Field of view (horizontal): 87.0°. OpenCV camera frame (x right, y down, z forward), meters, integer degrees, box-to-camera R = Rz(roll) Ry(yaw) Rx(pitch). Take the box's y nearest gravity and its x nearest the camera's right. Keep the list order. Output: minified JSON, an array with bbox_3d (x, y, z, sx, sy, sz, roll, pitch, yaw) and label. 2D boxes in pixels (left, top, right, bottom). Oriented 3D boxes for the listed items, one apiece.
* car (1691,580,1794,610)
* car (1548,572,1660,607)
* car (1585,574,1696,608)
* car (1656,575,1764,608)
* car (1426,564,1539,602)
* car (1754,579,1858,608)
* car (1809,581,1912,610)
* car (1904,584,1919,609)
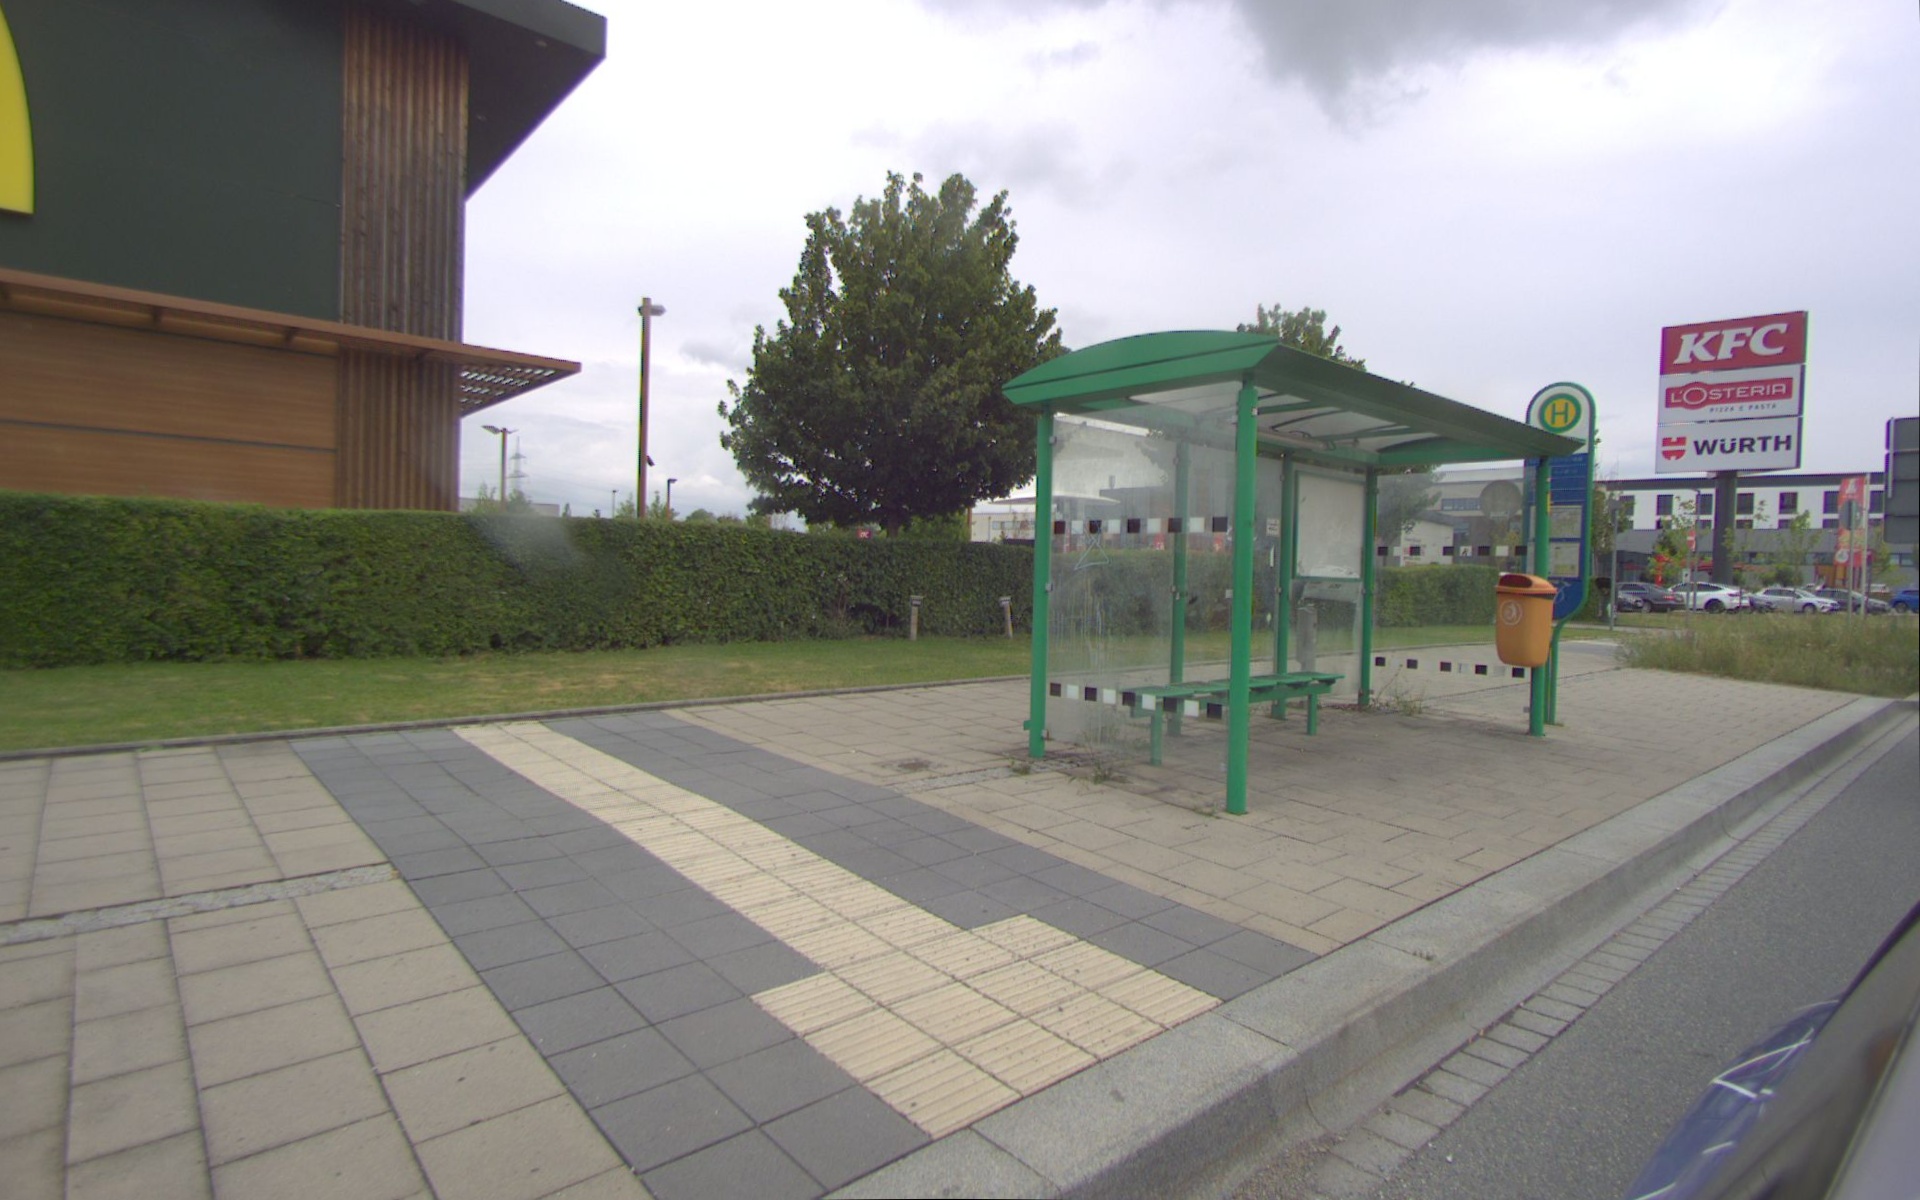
[{"bbox_3d":[42.338,-0.294,54.848,1.811,1.504,4.003,0,2,-33],"label":"car"},{"bbox_3d":[29.898,-0.496,47.097,1.811,1.504,4.003,0,2,-32],"label":"car"},{"bbox_3d":[32.366,-0.461,48.249,1.811,1.504,4.003,0,2,-32],"label":"car"},{"bbox_3d":[38.191,-0.445,51.611,1.811,1.541,4.003,0,2,-32],"label":"car"},{"bbox_3d":[22.762,-0.753,44.193,1.814,1.546,3.996,0,2,-40],"label":"car"},{"bbox_3d":[46.996,-0.386,56.312,1.810,1.504,4.006,0,2,-28],"label":"car"},{"bbox_3d":[51.468,-0.274,57.937,1.810,1.504,4.006,0,2,-28],"label":"car"},{"bbox_3d":[60.308,-0.198,61.439,1.809,1.504,4.007,-1,1,-24],"label":"car"}]
